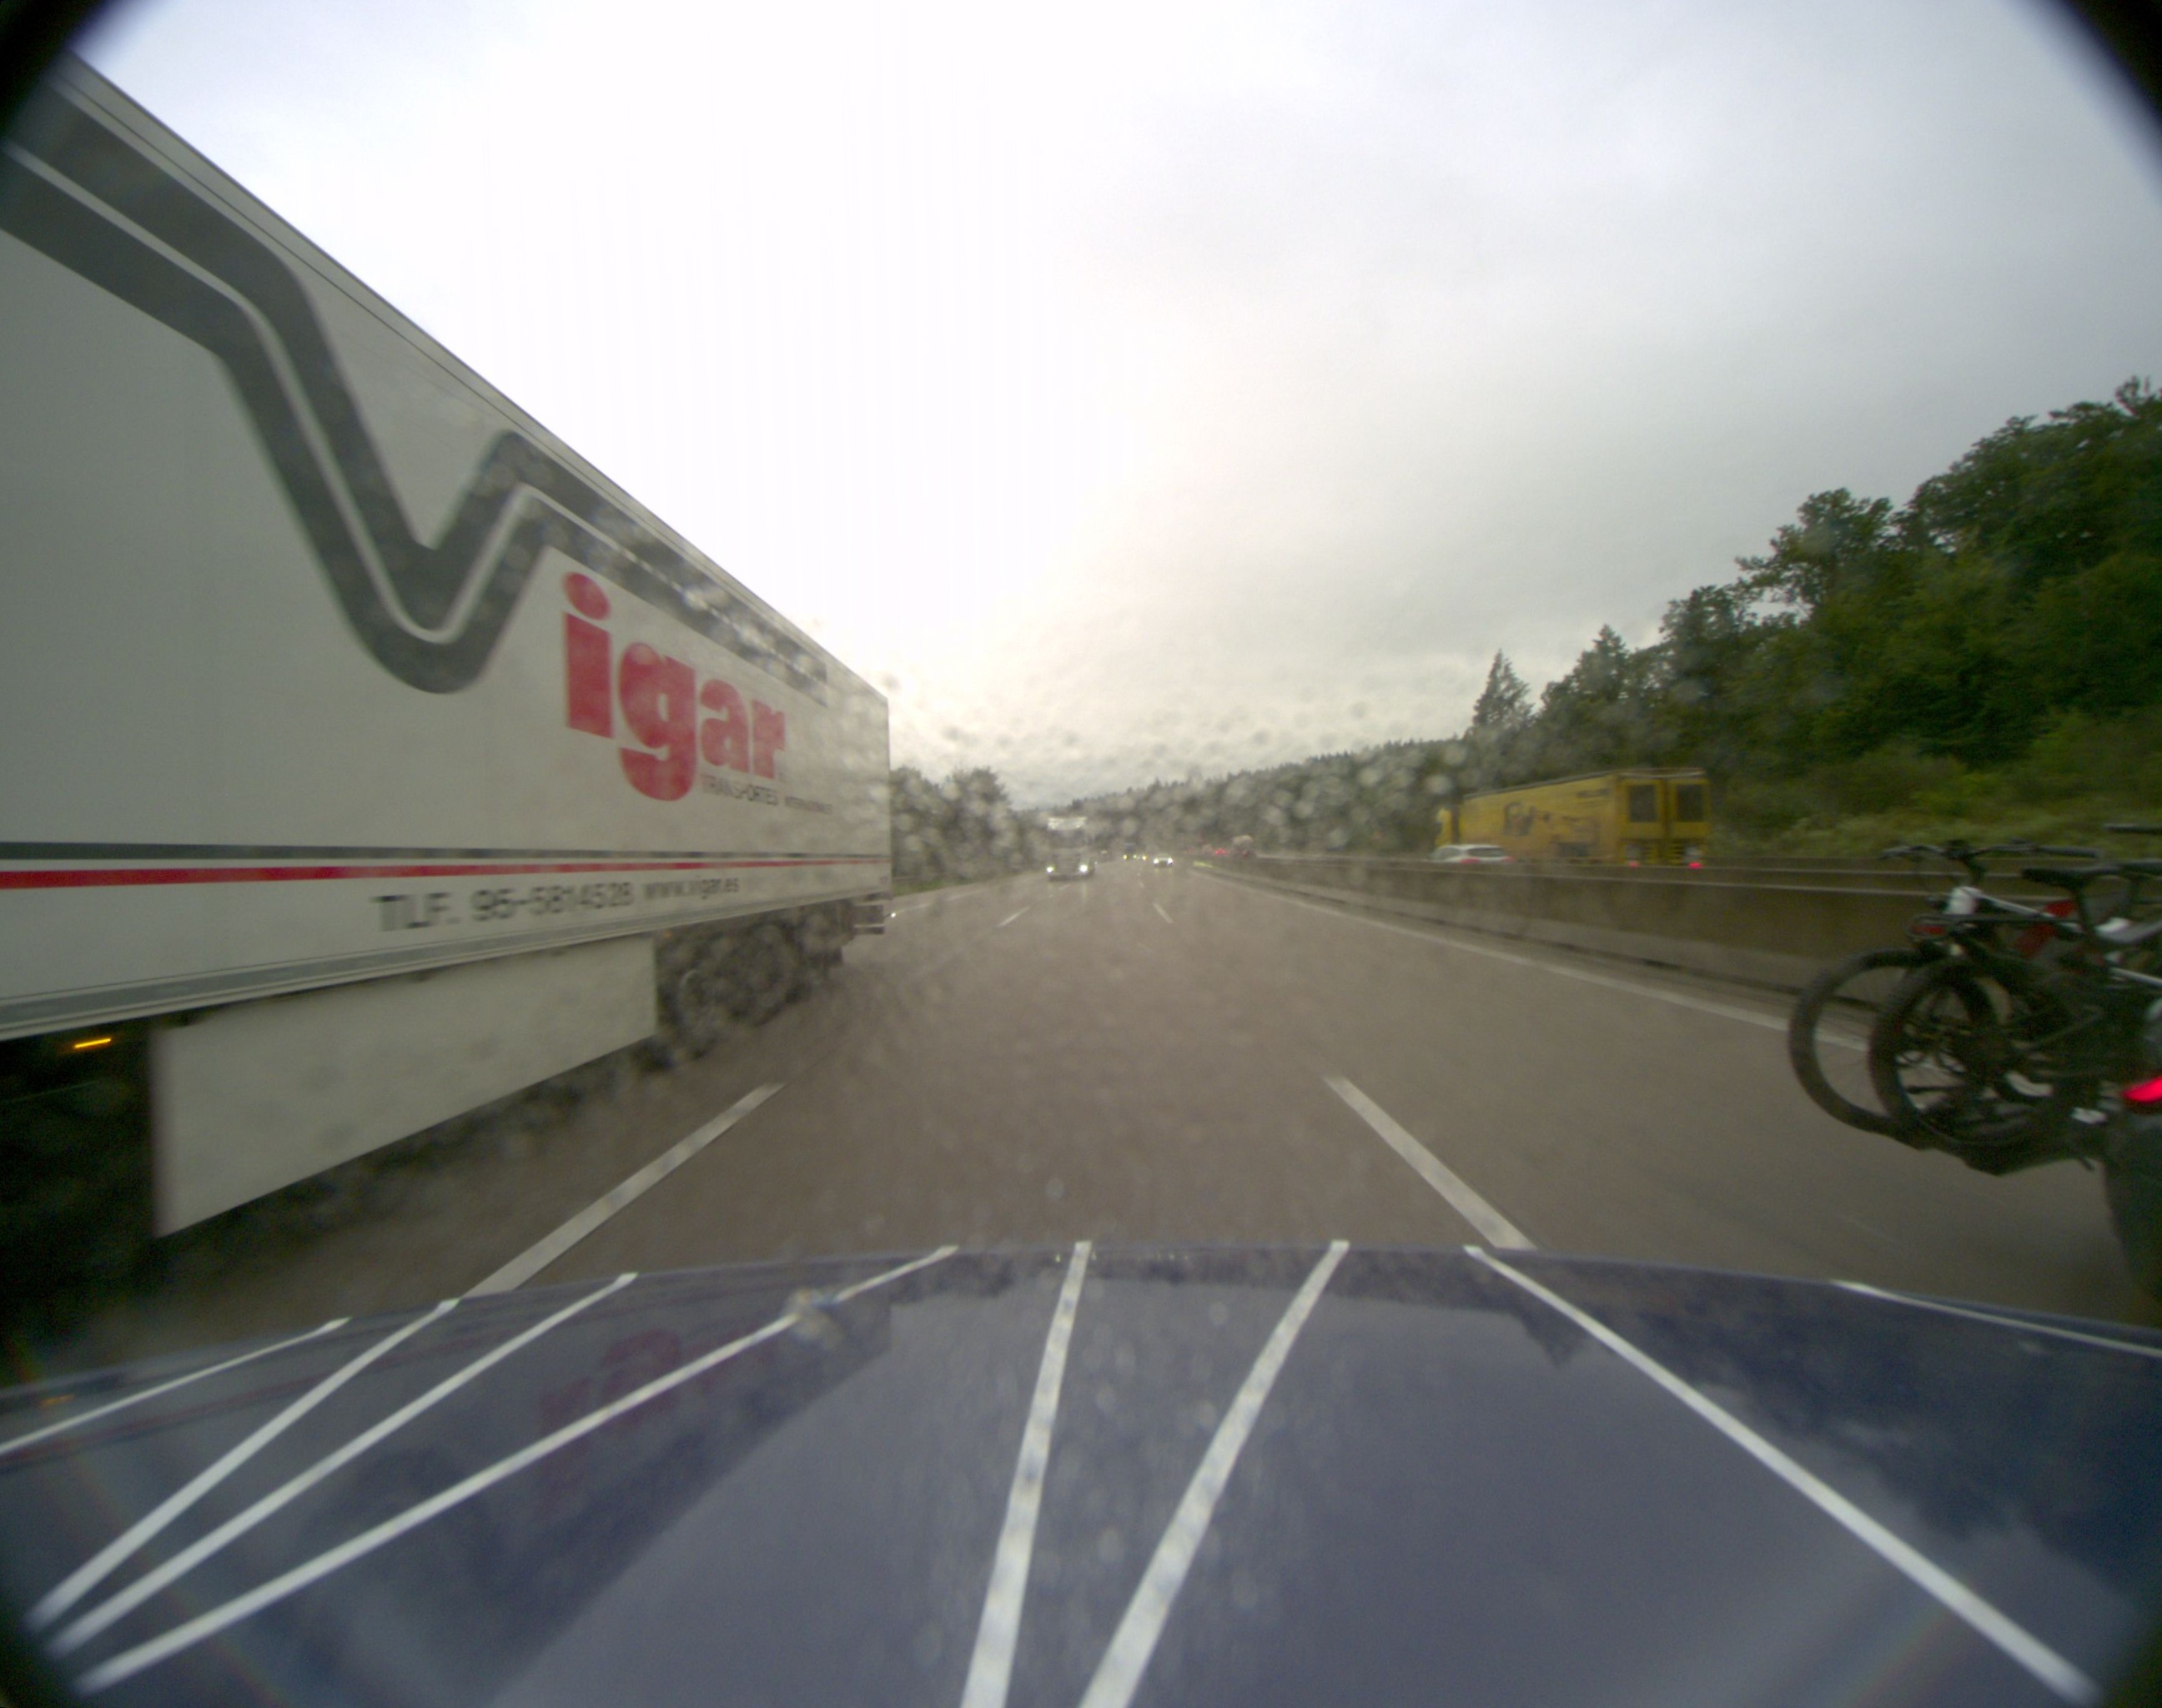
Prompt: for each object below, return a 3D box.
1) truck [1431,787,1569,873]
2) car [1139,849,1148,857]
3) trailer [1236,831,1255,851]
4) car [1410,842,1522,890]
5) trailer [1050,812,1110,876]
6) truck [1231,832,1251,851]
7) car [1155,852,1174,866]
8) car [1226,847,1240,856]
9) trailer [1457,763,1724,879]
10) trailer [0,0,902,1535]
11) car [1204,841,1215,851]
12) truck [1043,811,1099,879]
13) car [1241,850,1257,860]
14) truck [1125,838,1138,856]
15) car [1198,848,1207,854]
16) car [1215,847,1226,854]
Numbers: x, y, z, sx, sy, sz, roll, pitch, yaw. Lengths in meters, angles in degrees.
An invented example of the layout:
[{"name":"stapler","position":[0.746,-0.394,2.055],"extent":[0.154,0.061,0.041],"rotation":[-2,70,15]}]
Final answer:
[{"name":"truck","position":[21.194,-1.140,39.112],"extent":[3.033,3.852,8.118],"rotation":[-2,0,4]},{"name":"car","position":[12.279,-0.146,149.812],"extent":[1.716,1.399,4.937],"rotation":[-2,0,3]},{"name":"trailer","position":[31.071,-2.380,143.662],"extent":[2.551,3.645,8.233],"rotation":[-2,0,5]},{"name":"car","position":[13.292,0.377,26.569],"extent":[1.657,1.470,4.545],"rotation":[-2,0,1]},{"name":"trailer","position":[0.197,-0.687,55.829],"extent":[2.685,4.017,13.710],"rotation":[-3,0,6]},{"name":"truck","position":[31.906,-2.460,152.051],"extent":[2.569,3.645,10.495],"rotation":[-2,0,5]},{"name":"car","position":[9.011,0.522,82.225],"extent":[1.716,1.399,4.937],"rotation":[-2,0,3]},{"name":"car","position":[24.594,-0.355,123.136],"extent":[1.806,1.326,4.566],"rotation":[-2,0,6]},{"name":"trailer","position":[20.783,-1.157,32.790],"extent":[3.021,3.852,13.703],"rotation":[-2,0,4]},{"name":"trailer","position":[-4.176,-0.278,4.731],"extent":[2.741,4.080,13.681],"rotation":[-2,0,0]},{"name":"car","position":[32.323,-1.939,191.129],"extent":[1.998,2.435,6.748],"rotation":[-2,0,6]},{"name":"truck","position":[-0.520,-0.549,49.178],"extent":[2.727,4.017,5.755],"rotation":[-3,0,6]},{"name":"car","position":[22.804,0.108,103.243],"extent":[1.514,1.159,4.405],"rotation":[-2,0,5]},{"name":"truck","position":[12.384,-1.661,184.270],"extent":[2.736,4.127,8.625],"rotation":[-2,0,5]},{"name":"car","position":[28.025,-0.705,174.716],"extent":[1.662,1.363,4.760],"rotation":[-2,0,5]},{"name":"car","position":[27.956,-0.686,152.165],"extent":[1.662,1.363,4.722],"rotation":[-2,0,5]}]
